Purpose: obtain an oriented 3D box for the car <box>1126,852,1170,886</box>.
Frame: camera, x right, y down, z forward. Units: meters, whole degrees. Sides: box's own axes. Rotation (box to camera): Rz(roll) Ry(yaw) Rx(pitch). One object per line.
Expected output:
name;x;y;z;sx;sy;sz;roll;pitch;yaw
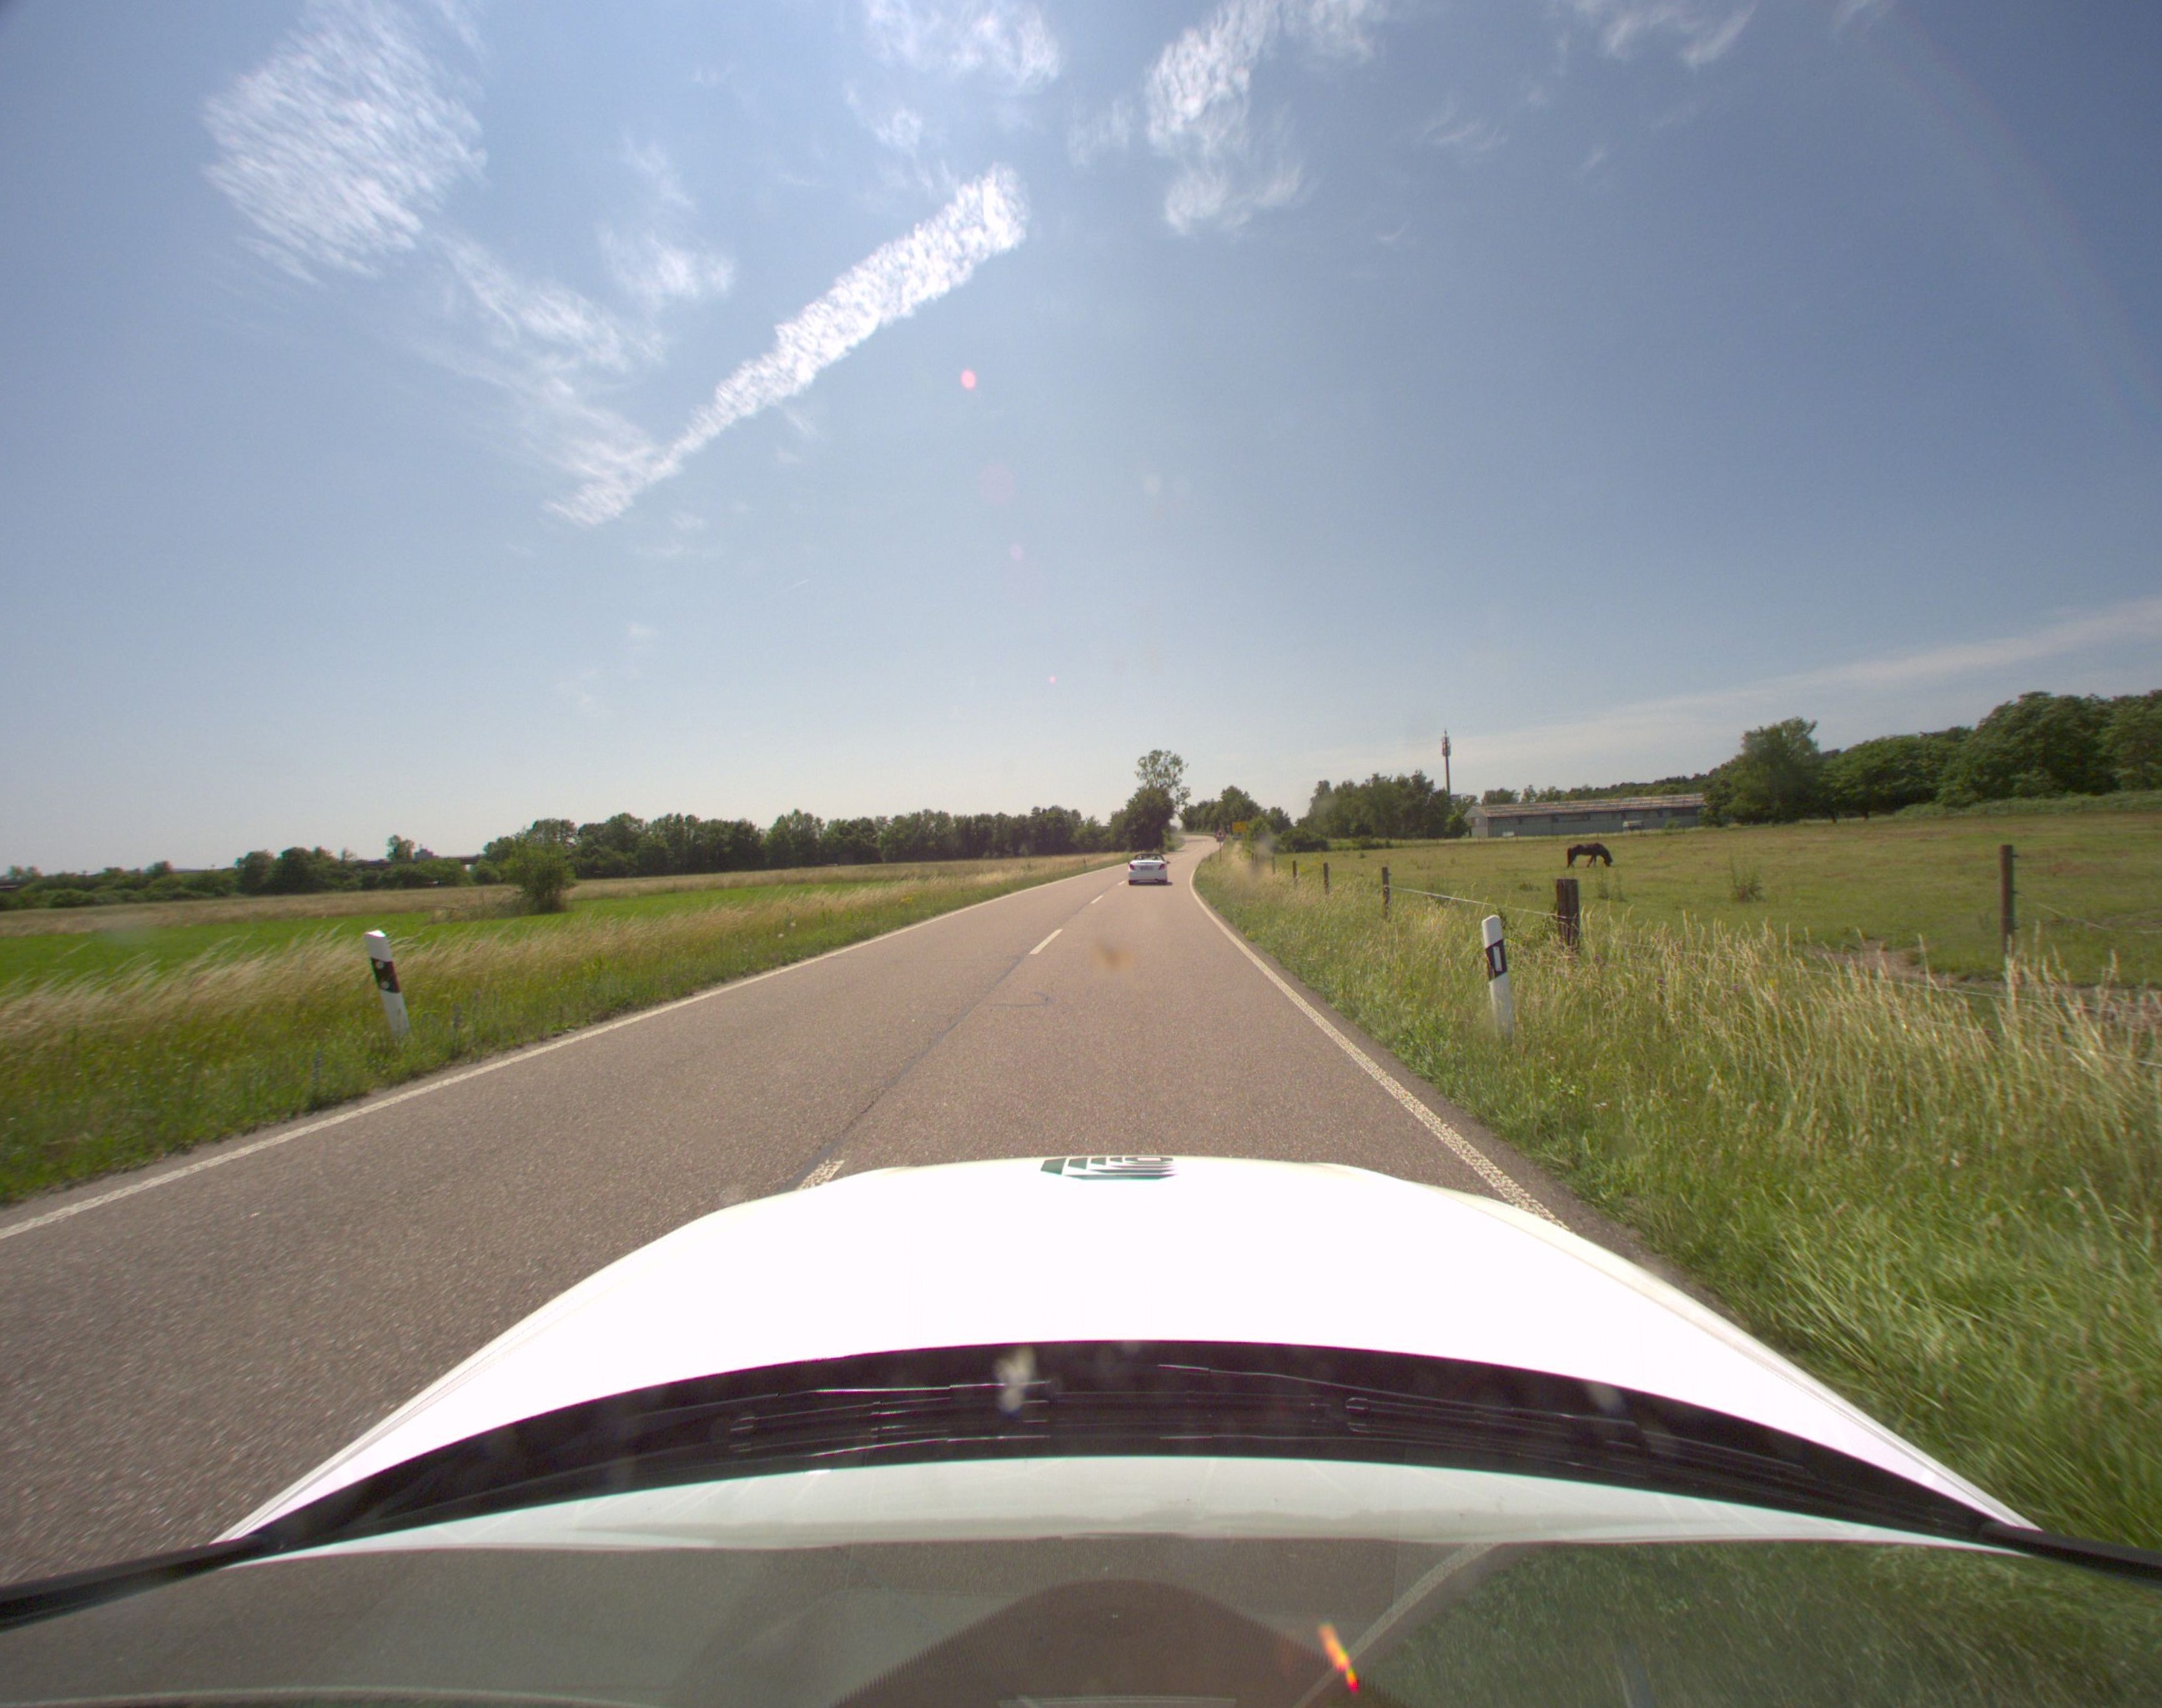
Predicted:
car;3.107;0.663;37.400;1.841;1.379;4.008;-1;1;7
